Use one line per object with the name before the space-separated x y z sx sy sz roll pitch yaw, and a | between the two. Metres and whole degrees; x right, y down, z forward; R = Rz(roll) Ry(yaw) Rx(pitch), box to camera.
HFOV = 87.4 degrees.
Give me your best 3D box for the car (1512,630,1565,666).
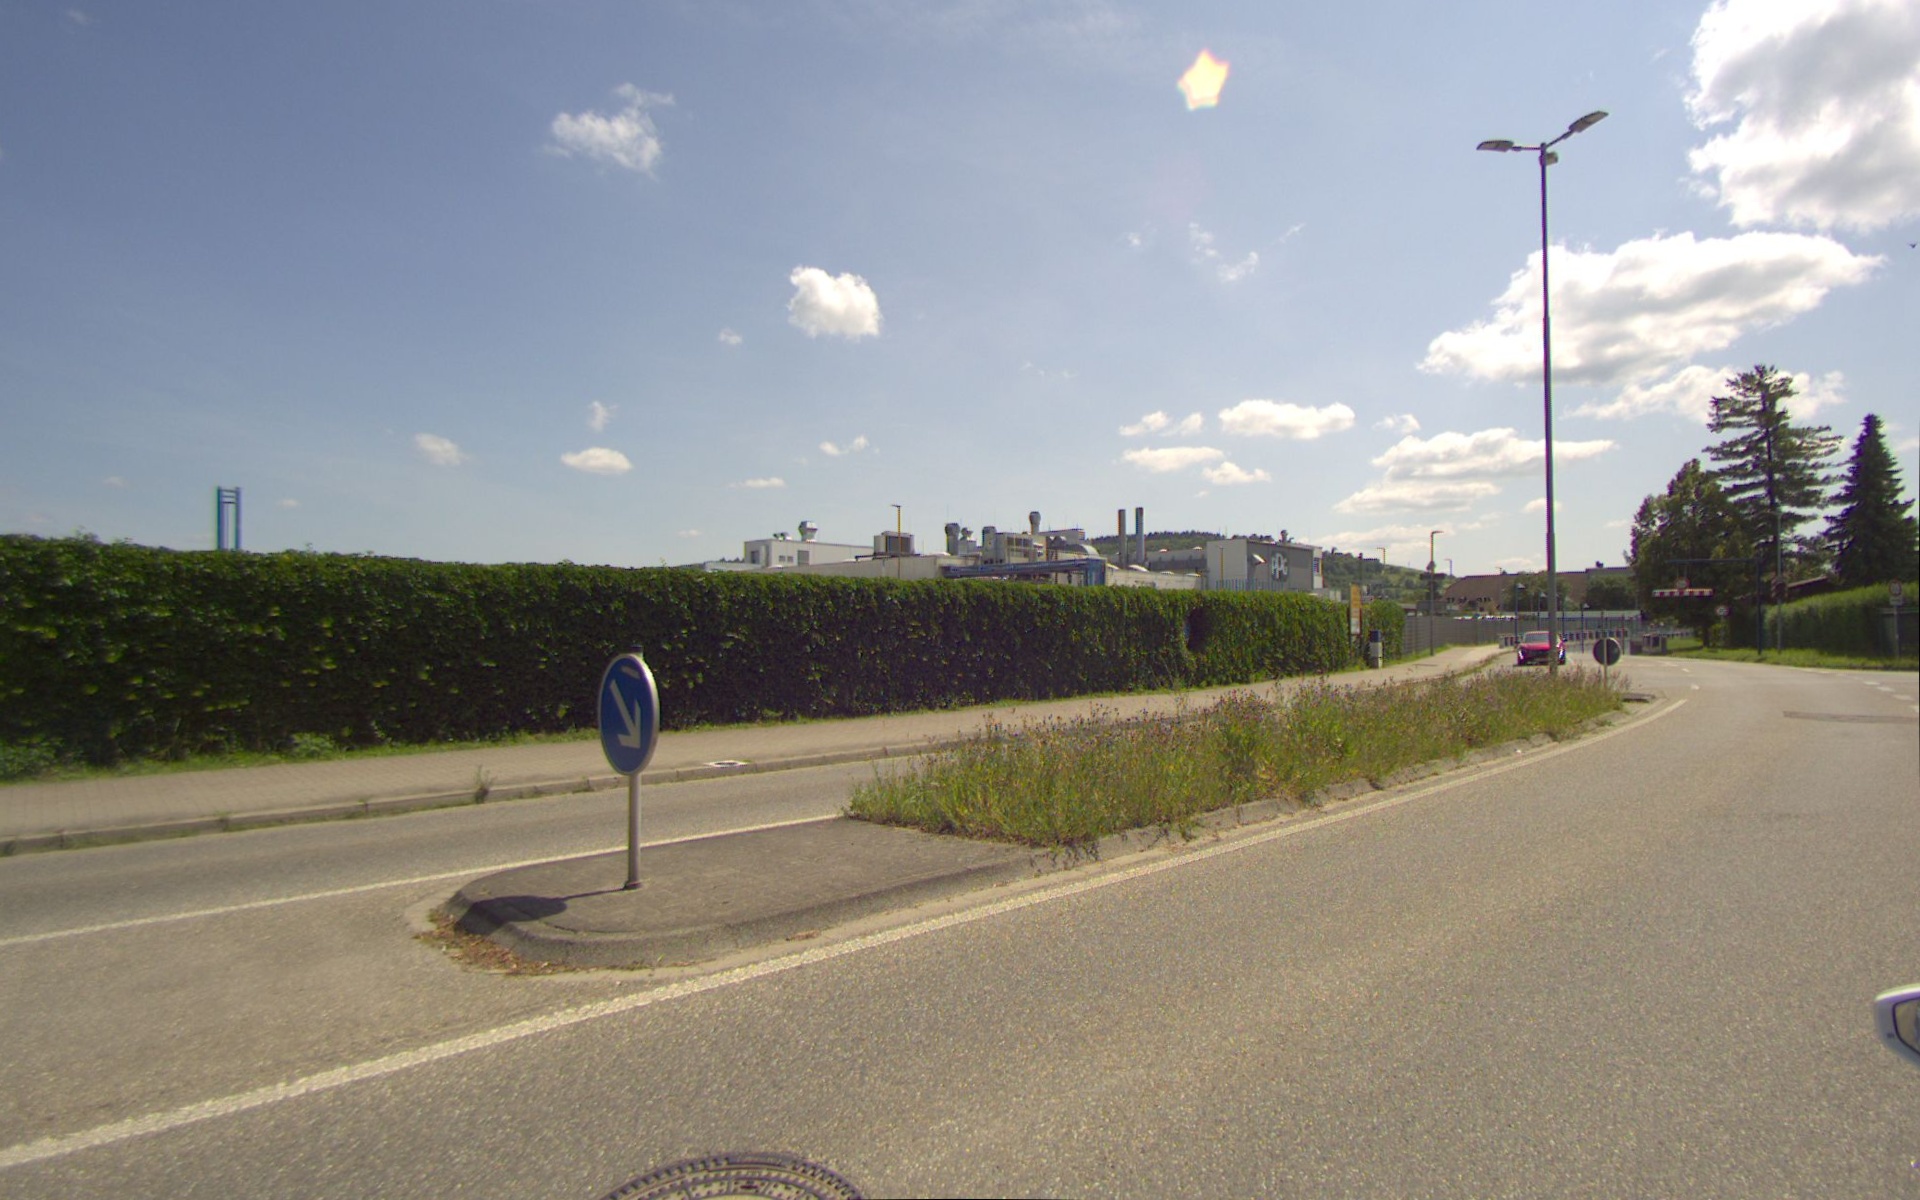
car | 25.431 2.078 44.103 1.854 1.483 4.376 -2 -3 32
